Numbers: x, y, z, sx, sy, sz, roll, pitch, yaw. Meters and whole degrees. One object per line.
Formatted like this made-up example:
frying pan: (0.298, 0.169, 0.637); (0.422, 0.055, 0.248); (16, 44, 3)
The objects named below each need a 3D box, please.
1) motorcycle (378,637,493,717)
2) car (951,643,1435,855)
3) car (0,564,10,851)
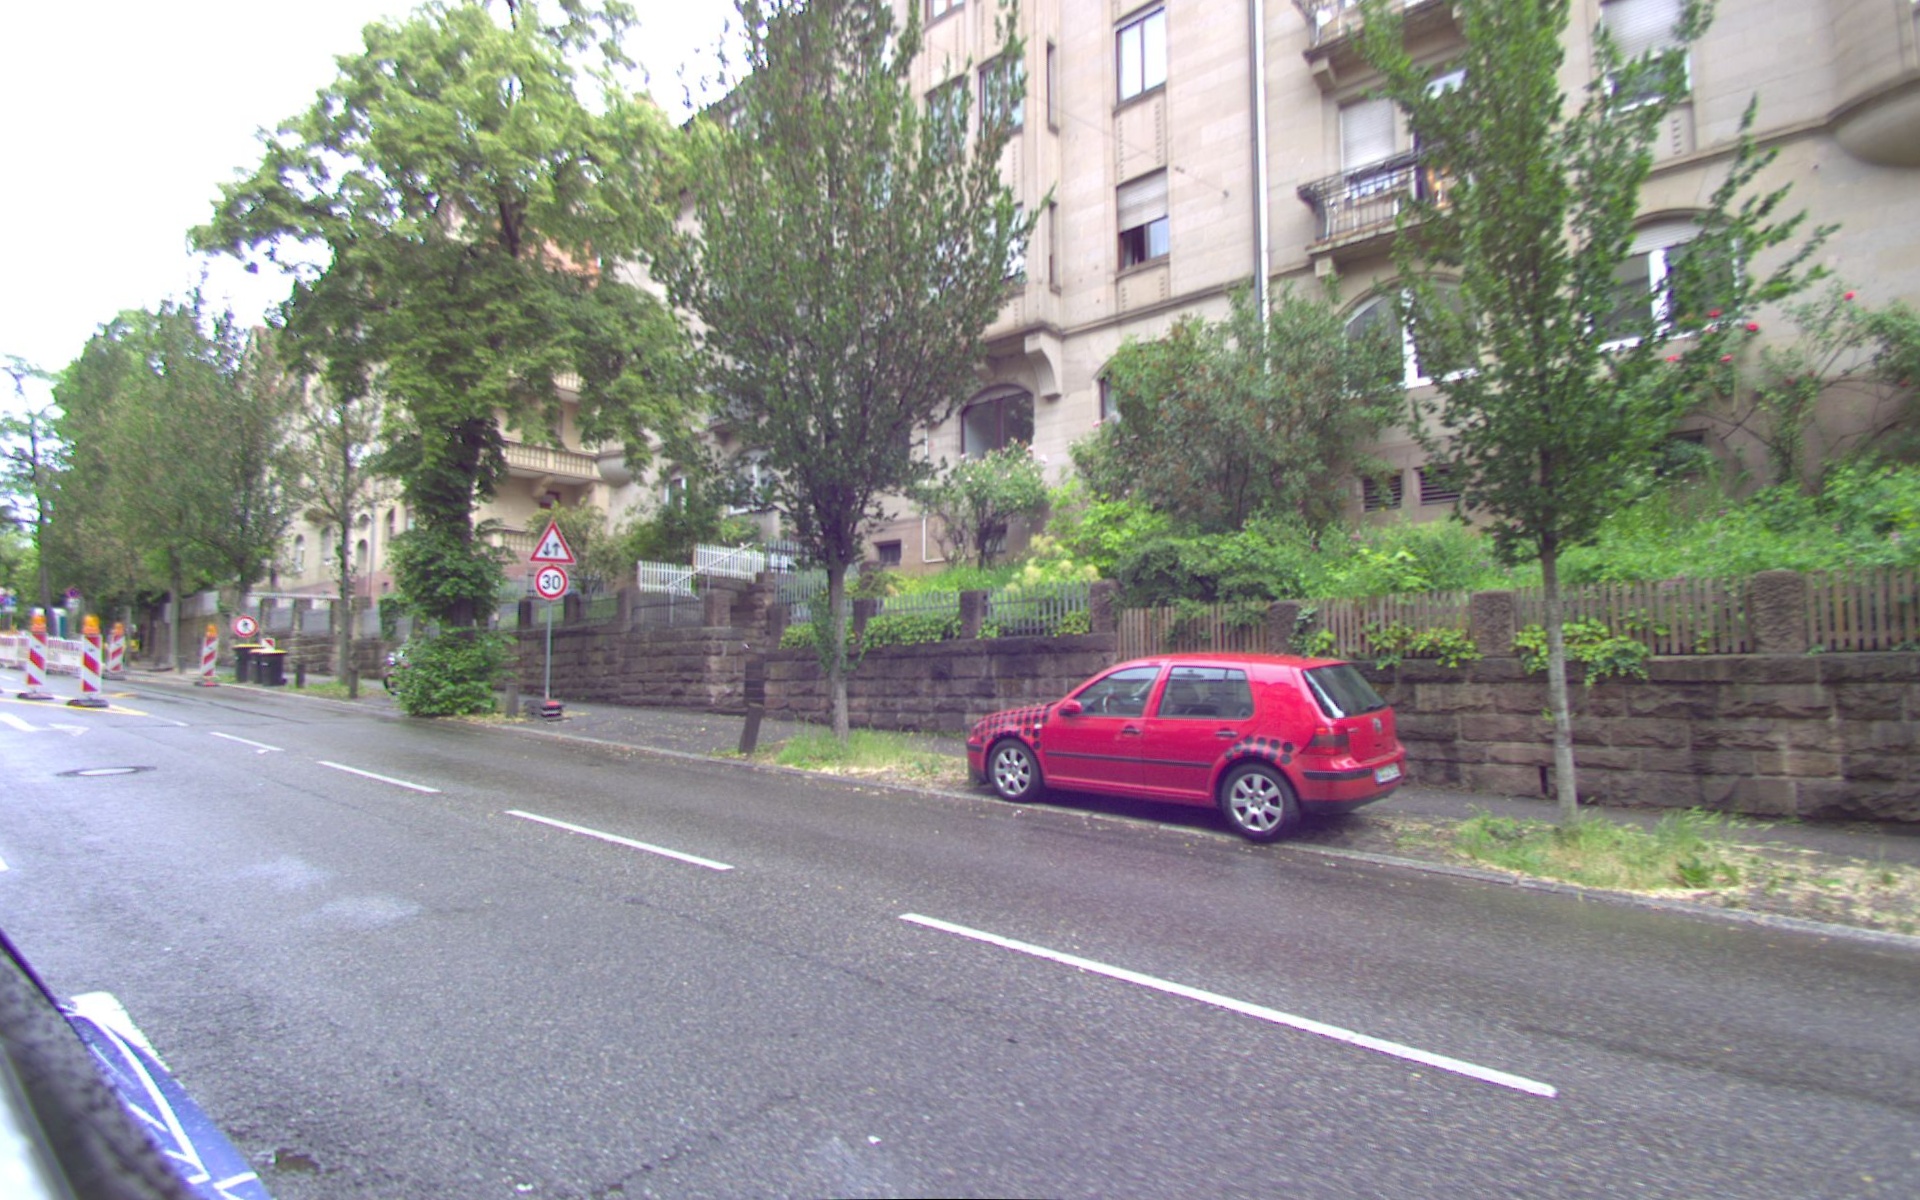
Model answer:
motorcycle: (-10.184, 1.440, 19.565); (3.058, 1.425, 0.792); (-2, -1, 38)
car: (1.954, 1.159, 9.261); (4.062, 1.462, 1.596); (-1, -2, 42)
car: (-5.448, 0.740, 4.192); (4.520, 1.685, 1.799); (-1, -3, 42)
